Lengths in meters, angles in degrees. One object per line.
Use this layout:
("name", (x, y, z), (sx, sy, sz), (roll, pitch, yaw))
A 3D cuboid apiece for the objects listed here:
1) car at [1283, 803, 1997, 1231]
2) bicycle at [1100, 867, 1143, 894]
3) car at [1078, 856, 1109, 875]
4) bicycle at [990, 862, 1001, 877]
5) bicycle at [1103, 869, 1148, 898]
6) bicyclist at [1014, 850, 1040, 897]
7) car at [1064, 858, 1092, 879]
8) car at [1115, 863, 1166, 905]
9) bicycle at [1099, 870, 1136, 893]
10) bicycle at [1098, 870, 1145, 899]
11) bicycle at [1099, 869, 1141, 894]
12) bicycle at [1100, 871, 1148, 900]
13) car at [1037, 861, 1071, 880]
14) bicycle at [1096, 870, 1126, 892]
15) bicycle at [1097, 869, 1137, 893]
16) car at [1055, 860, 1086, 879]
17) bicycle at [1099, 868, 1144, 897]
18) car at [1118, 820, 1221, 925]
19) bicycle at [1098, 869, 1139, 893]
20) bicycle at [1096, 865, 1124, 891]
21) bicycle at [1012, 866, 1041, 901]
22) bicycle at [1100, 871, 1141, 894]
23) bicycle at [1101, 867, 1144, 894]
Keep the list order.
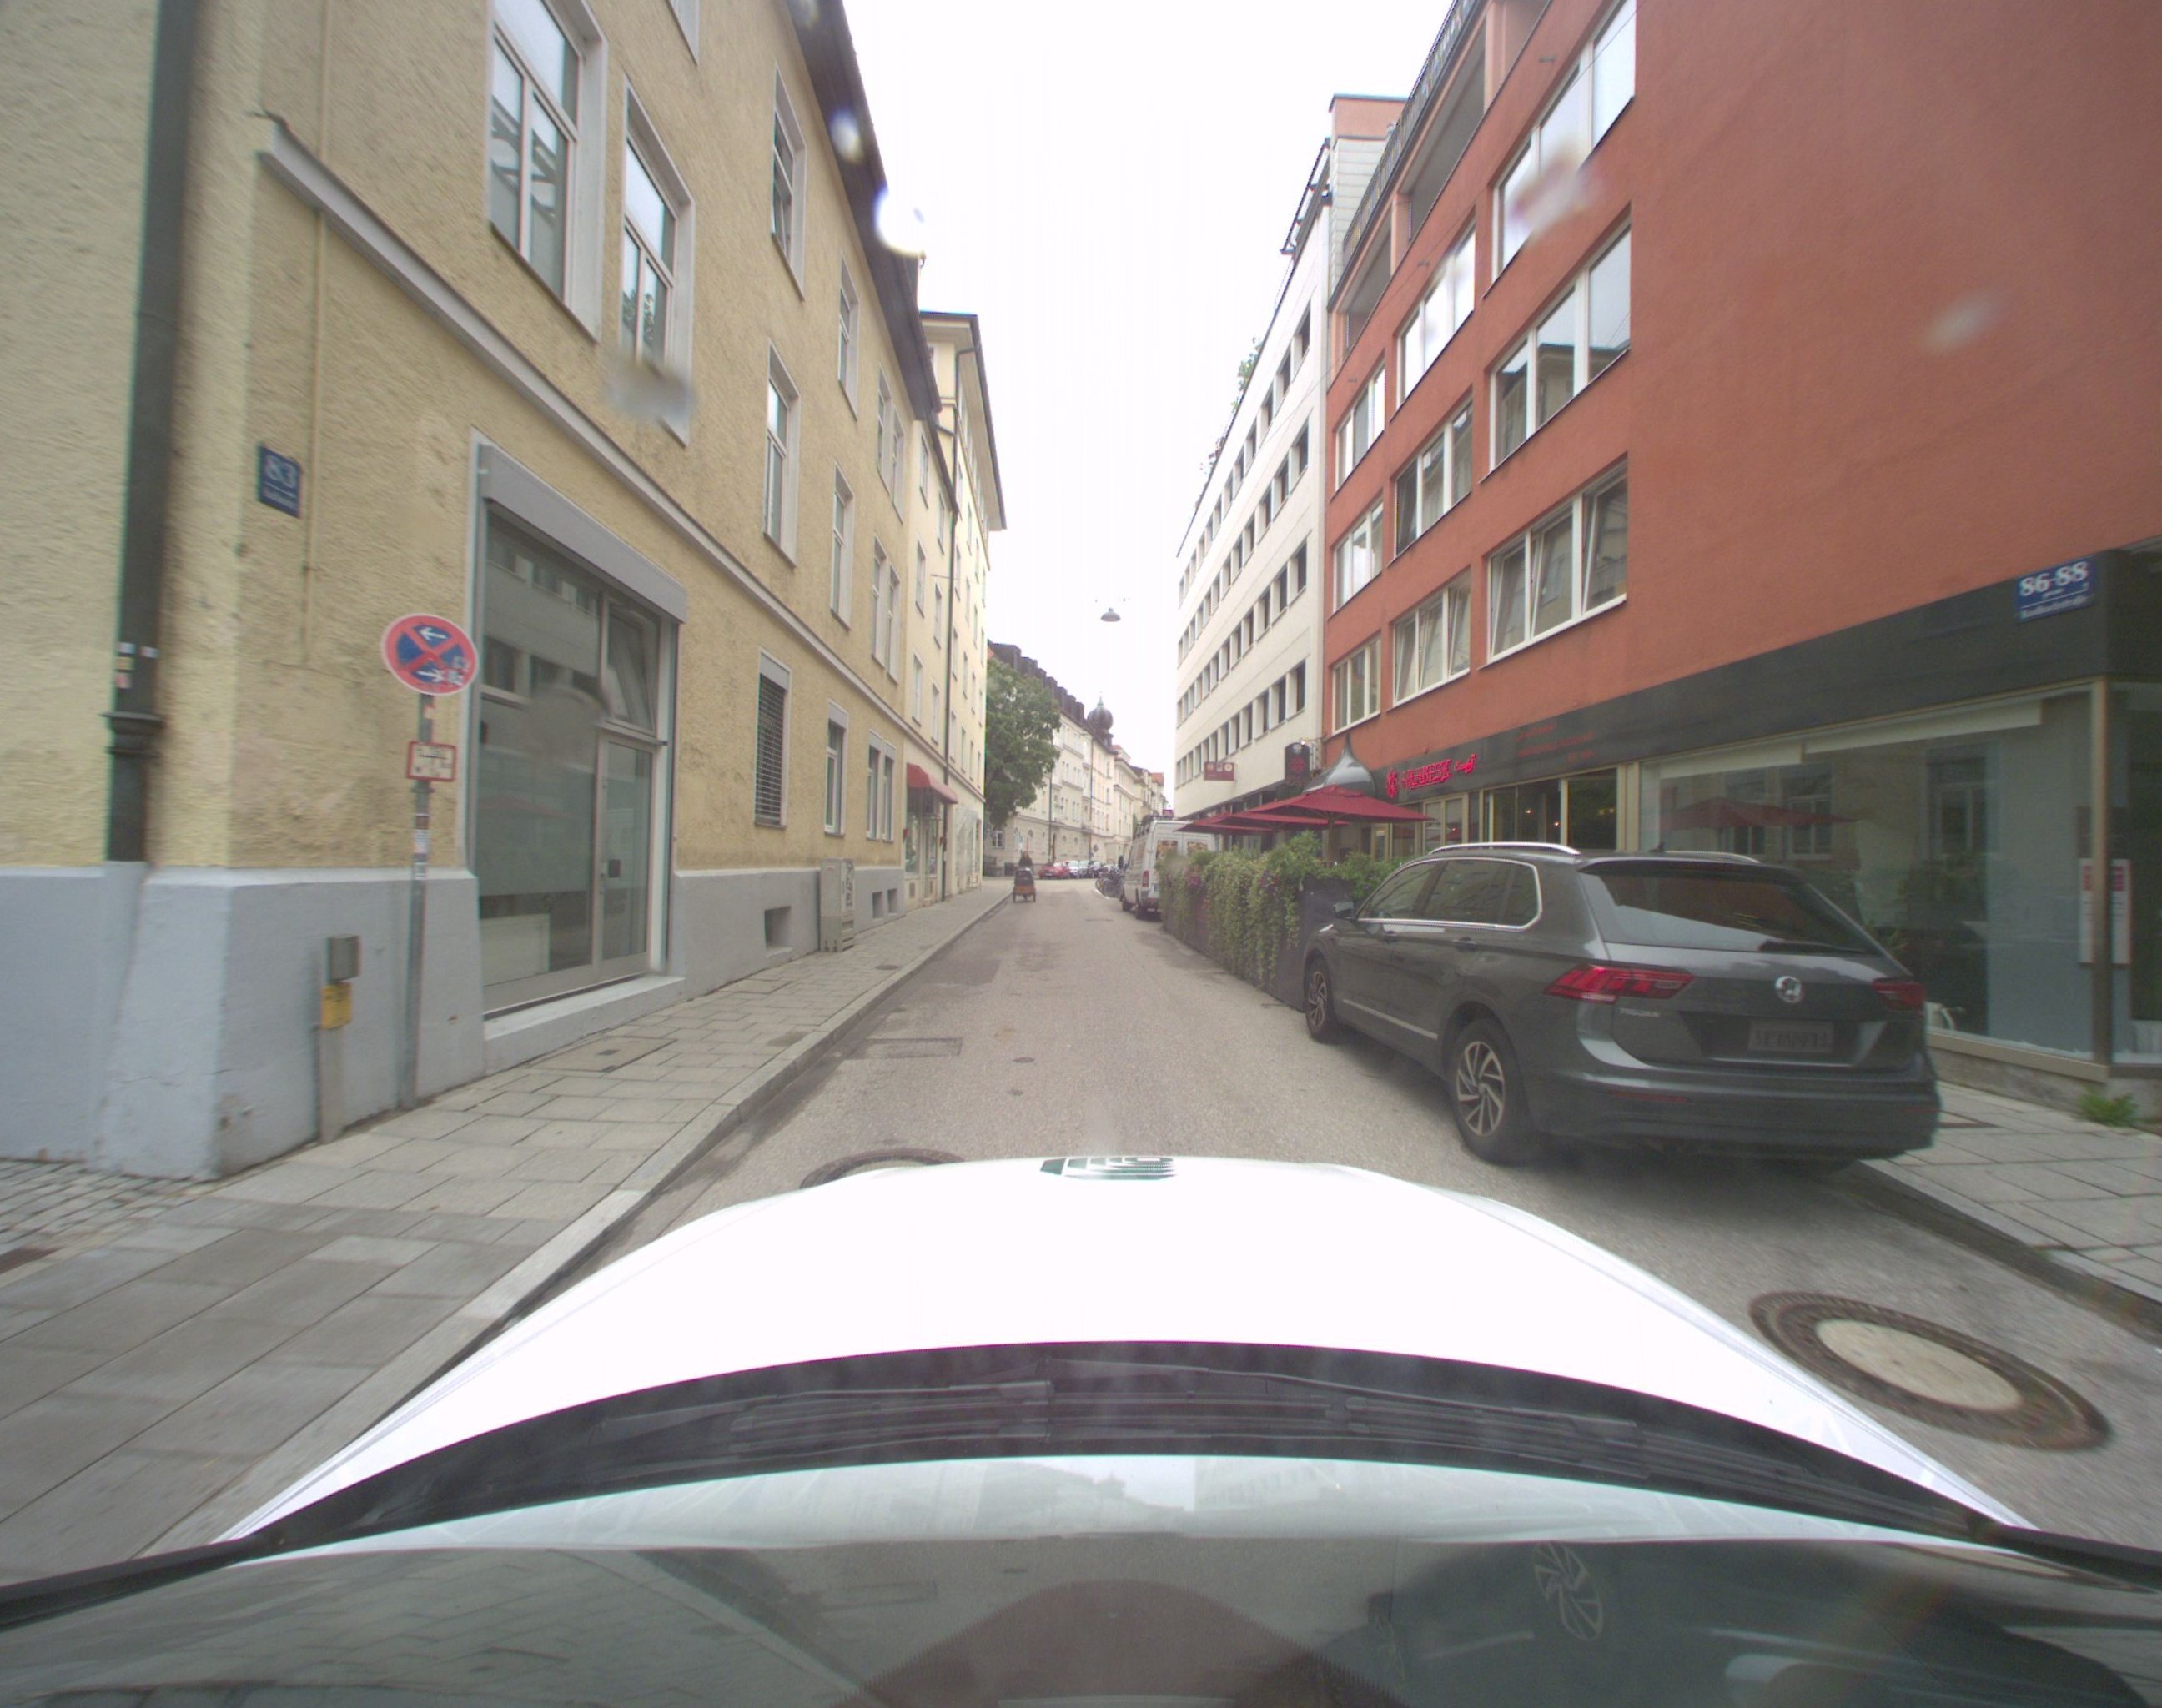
("car", (2.880, 0.700, 5.570), (1.818, 1.710, 4.387), (2, -1, -1))
("bicycle", (1.830, 1.186, 36.810), (1.890, 1.170, 0.565), (1, -1, -5))
("car", (1.239, 1.094, 77.203), (1.980, 1.738, 4.537), (2, -1, 13))
("bicycle", (-6.418, 1.156, 61.163), (0.491, 1.052, 1.829), (1, 1, 3))
("bicycle", (1.924, 1.269, 35.478), (1.870, 1.157, 0.564), (3, 0, -4))
("bicyclist", (-1.996, 0.717, 30.433), (0.924, 1.721, 1.099), (0, -1, -1))
("car", (-0.234, 1.263, 72.288), (1.932, 1.702, 4.009), (2, -1, 8))
("car", (2.190, 1.076, 30.602), (1.576, 1.464, 3.550), (1, -1, -1))
("bicycle", (1.803, 1.374, 40.454), (1.737, 1.080, 0.451), (1, 0, -6))
("bicycle", (1.710, 1.267, 34.266), (1.870, 1.108, 0.488), (3, 0, -5))
("bicycle", (1.772, 1.251, 37.375), (1.871, 1.095, 0.439), (1, 0, -6))
("bicycle", (1.748, 1.284, 33.348), (1.870, 1.080, 0.488), (3, 0, -5))
("car", (-2.068, 1.285, 62.560), (1.720, 1.378, 4.238), (1, -1, 10))
("bicycle", (1.516, 1.368, 41.677), (1.451, 1.069, 0.462), (2, -1, -10))
("bicycle", (1.737, 1.296, 39.213), (1.871, 1.080, 0.407), (1, 0, -6))
("car", (-0.845, 1.303, 67.680), (1.983, 1.473, 4.226), (1, -1, 6))
("bicycle", (1.723, 1.218, 34.787), (1.870, 1.204, 0.488), (1, 0, -4))
("car", (2.310, 0.477, 23.018), (1.916, 2.506, 5.991), (2, -1, -3))
("bicycle", (1.787, 1.282, 38.776), (1.871, 1.080, 0.401), (1, 0, -6))
("bicycle", (1.523, 1.264, 42.691), (1.452, 1.285, 0.445), (2, -1, -1))
("bicycle", (-1.992, 1.076, 30.084), (0.929, 1.257, 2.412), (0, -1, -1))
("bicycle", (1.846, 1.331, 38.080), (1.871, 1.052, 0.563), (1, -2, -6))
("bicycle", (1.836, 1.175, 36.207), (1.870, 1.204, 0.579), (0, -1, -5))
